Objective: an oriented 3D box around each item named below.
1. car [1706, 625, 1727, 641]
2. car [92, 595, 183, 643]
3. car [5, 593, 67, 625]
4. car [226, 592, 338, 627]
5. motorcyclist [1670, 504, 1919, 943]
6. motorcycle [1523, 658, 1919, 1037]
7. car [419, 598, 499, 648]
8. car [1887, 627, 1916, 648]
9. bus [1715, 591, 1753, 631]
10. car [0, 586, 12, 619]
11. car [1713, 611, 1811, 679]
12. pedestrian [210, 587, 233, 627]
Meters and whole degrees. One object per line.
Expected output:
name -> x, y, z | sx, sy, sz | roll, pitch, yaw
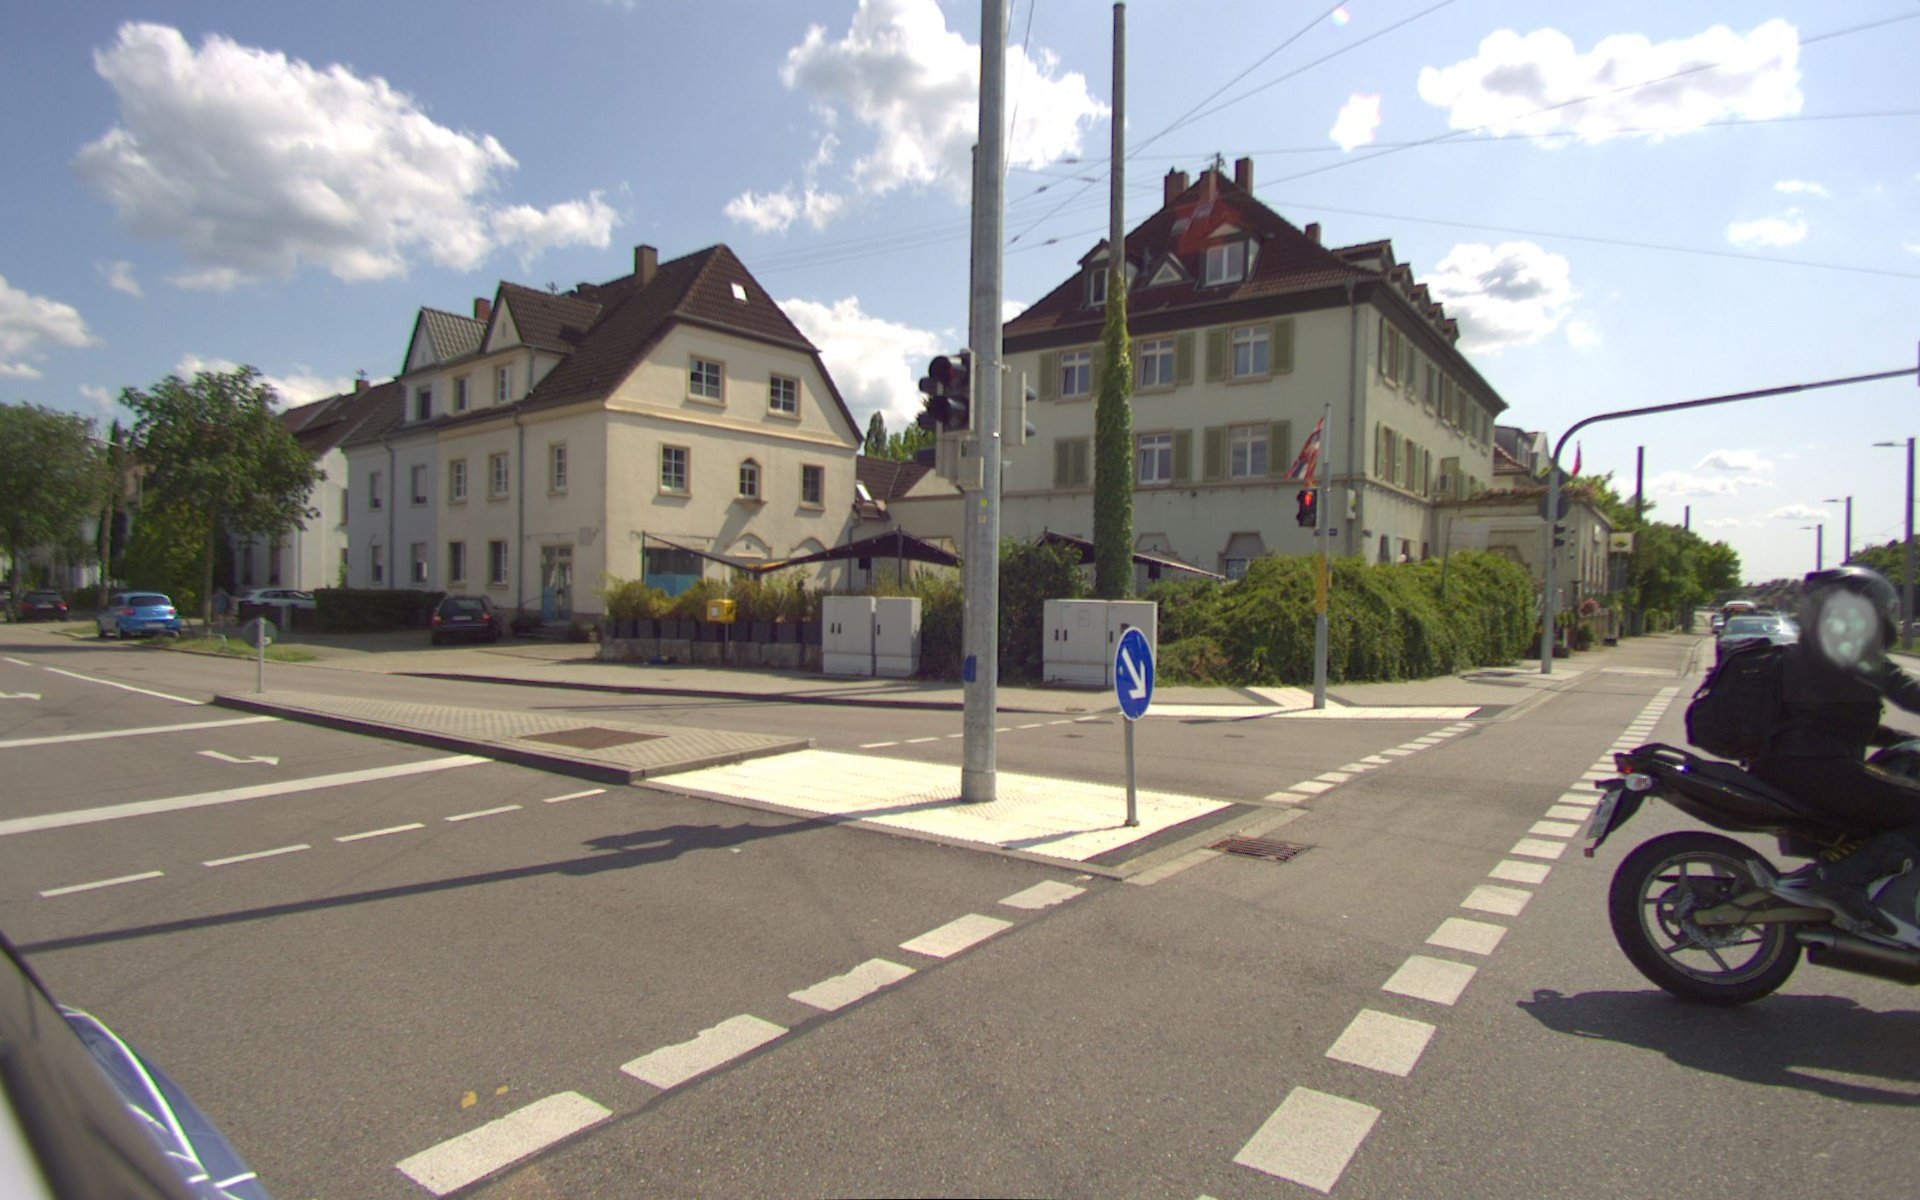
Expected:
car -> 96.625, 4.181, 129.306 | 1.996, 2.029, 3.951 | 1, 0, 36
car -> -26.767, 0.579, 32.911 | 3.152, 1.473, 1.688 | 1, 0, 39
car -> -40.362, 0.363, 44.190 | 3.918, 1.306, 1.686 | 1, 0, 43
car -> -29.420, 0.414, 43.961 | 1.711, 1.465, 3.755 | 1, 0, 42
motorcyclist -> 3.323, 0.390, 3.589 | 1.092, 1.409, 0.820 | -2, -1, 21
motorcycle -> 3.394, 0.838, 3.571 | 2.342, 1.136, 0.838 | 1, 0, 21
car -> -15.050, 0.639, 30.582 | 1.731, 1.397, 4.116 | 1, 0, -21
car -> 97.233, 3.813, 104.539 | 1.999, 2.029, 3.945 | 1, -1, 41
bus -> 80.108, 1.106, 104.856 | 2.395, 3.805, 11.883 | 1, 0, 34
car -> -51.171, 0.113, 53.307 | 3.573, 1.667, 1.541 | 1, 0, 43
car -> 20.716, 1.096, 26.272 | 1.743, 1.596, 3.878 | 1, 0, 35
pedestrian -> -29.145, 0.286, 39.929 | 0.618, 1.547, 0.623 | 1, 0, 44
